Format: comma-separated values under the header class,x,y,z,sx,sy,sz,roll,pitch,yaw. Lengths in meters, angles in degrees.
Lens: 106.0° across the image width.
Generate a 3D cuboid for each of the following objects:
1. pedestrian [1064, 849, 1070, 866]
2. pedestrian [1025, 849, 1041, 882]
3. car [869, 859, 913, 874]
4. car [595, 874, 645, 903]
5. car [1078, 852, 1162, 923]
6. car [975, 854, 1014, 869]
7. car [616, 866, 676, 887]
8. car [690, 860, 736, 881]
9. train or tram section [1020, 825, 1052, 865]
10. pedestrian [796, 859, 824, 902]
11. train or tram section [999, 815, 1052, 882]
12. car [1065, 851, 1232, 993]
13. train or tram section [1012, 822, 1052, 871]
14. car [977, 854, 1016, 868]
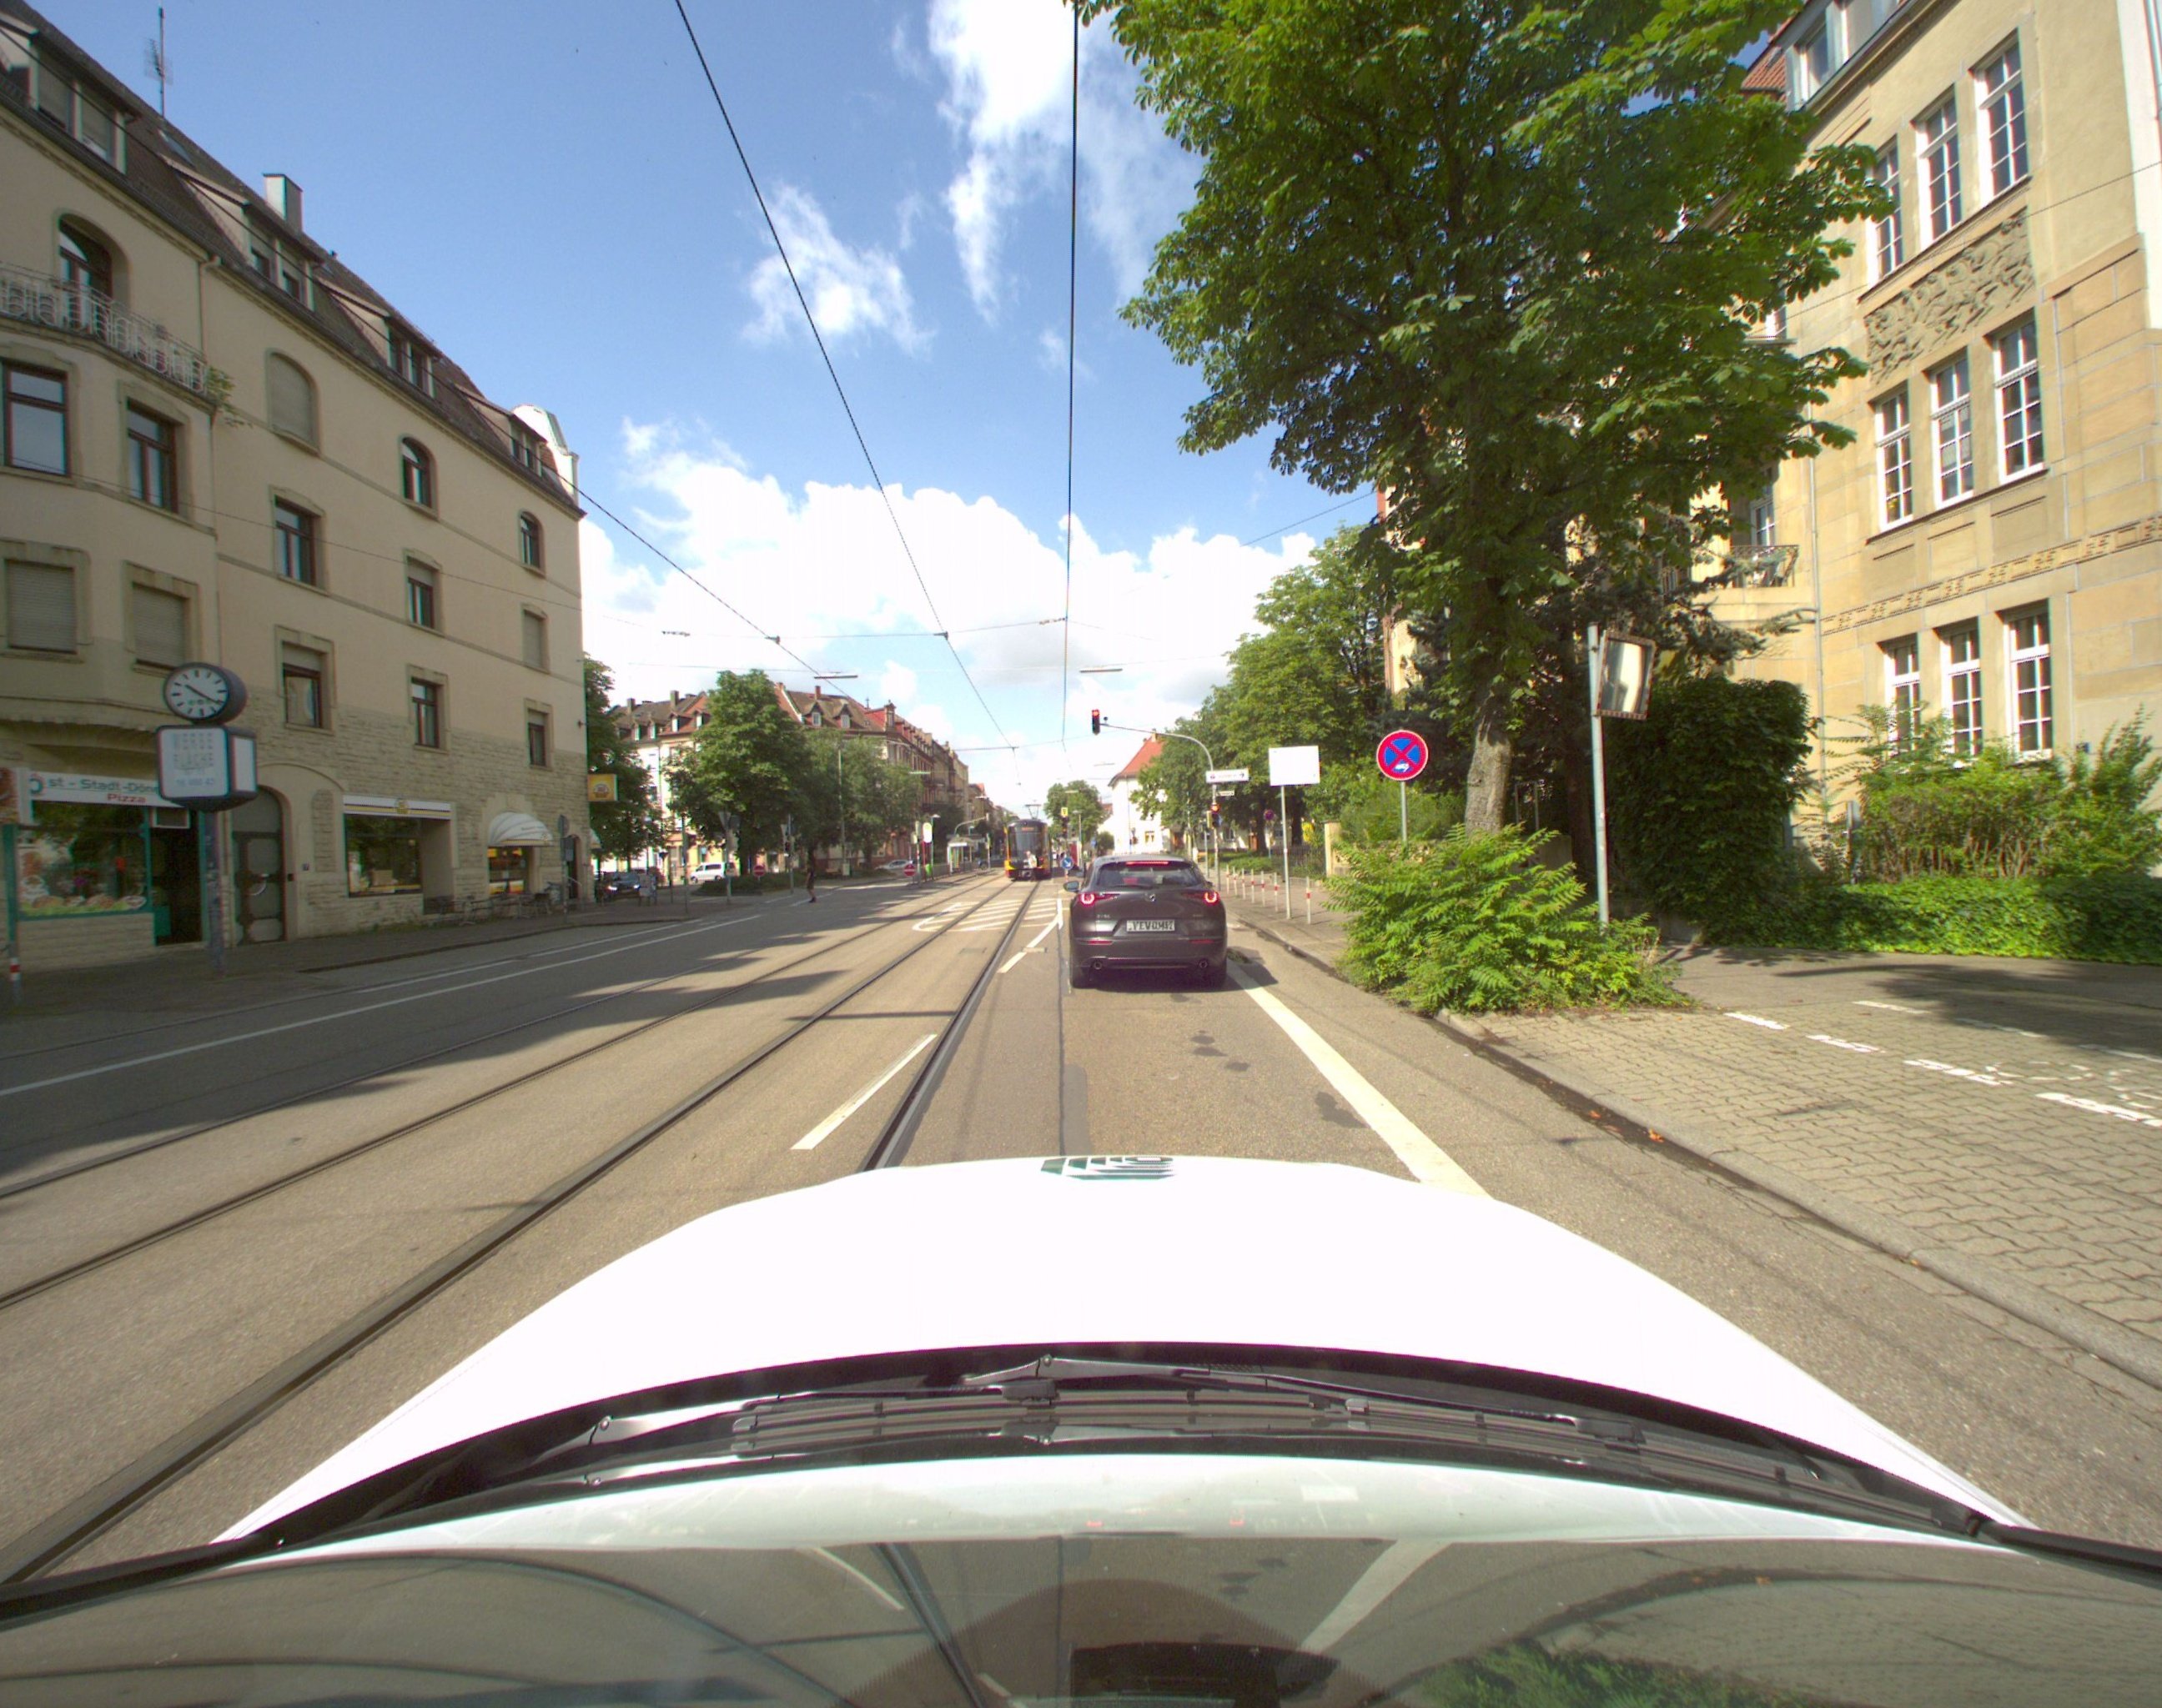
class,x,y,z,sx,sy,sz,roll,pitch,yaw
pedestrian,-1.228,0.304,69.822,0.449,1.434,0.474,-2,0,-3
pedestrian,-2.596,0.605,43.615,0.716,1.705,0.821,-2,0,-9
car,-19.299,1.229,82.858,4.012,1.360,1.662,-2,0,-30
car,-27.316,2.024,48.213,1.771,1.518,4.020,-2,0,-40
car,0.889,0.708,19.271,1.772,1.499,4.001,0,0,1
car,-9.380,0.819,88.387,3.991,1.498,1.671,-2,0,-13
car,-36.779,1.885,68.912,3.971,1.596,2.001,-2,0,2
car,-36.758,1.684,81.276,3.950,1.903,2.012,-2,0,26
train or tram section,-4.284,-0.910,80.319,2.746,3.490,14.397,-2,1,-2
pedestrian,-10.865,1.070,32.715,0.746,1.684,0.702,-2,0,11
train or tram section,-3.292,-0.423,51.522,2.746,3.490,14.397,-2,1,-2
car,0.773,0.715,10.661,1.772,1.499,4.001,0,0,1
train or tram section,-3.790,-0.664,65.926,2.746,3.490,14.397,-2,1,-2
car,-9.513,0.783,91.791,4.011,1.360,1.663,-2,0,-29
